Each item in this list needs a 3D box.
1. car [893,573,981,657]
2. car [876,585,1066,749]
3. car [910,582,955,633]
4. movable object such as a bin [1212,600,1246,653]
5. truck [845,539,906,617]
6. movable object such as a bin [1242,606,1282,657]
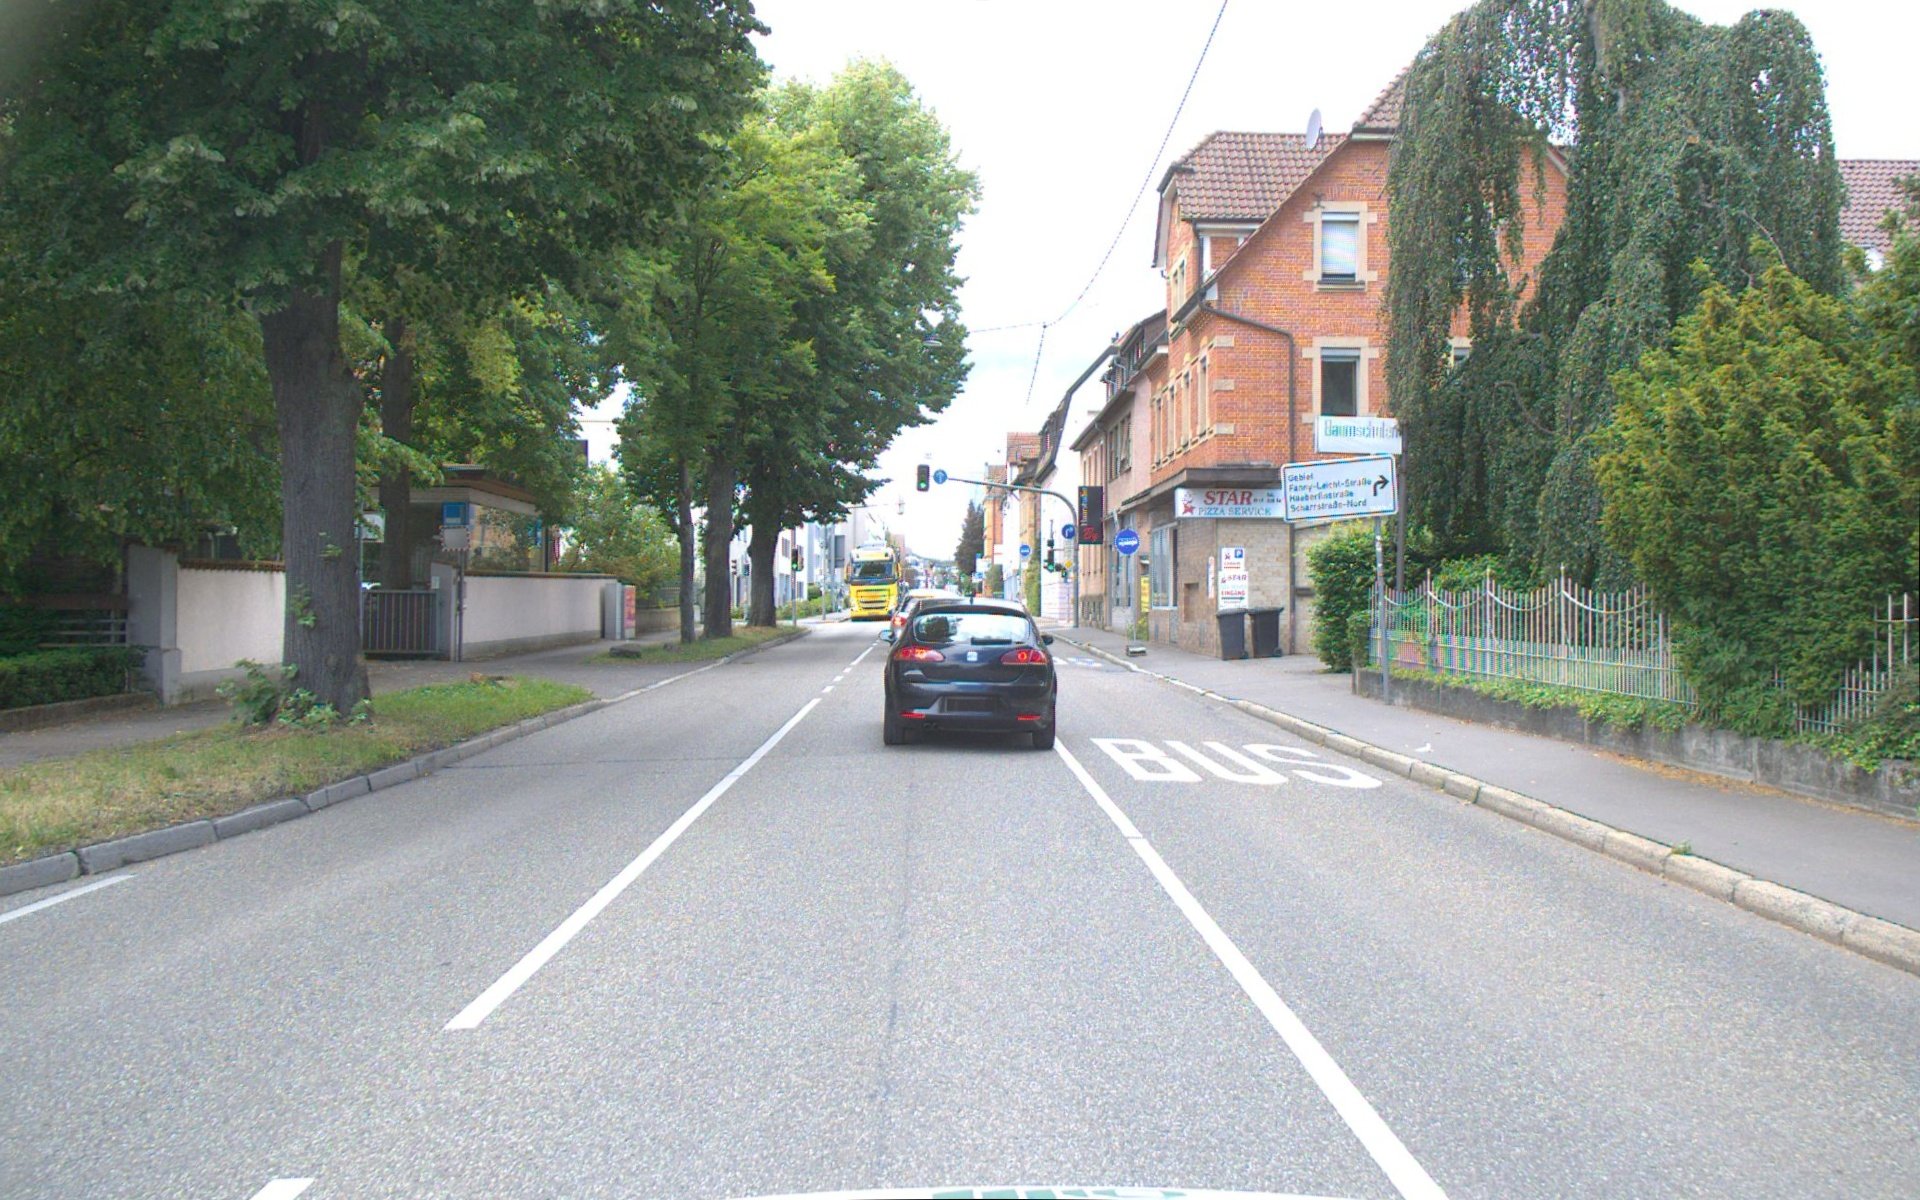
[{"bbox_3d":[-0.531,0.338,37.083,1.805,1.722,3.999,2,0,-1],"label":"car"},{"bbox_3d":[0.072,0.634,17.415,1.723,1.467,3.999,2,0,-1],"label":"car"},{"bbox_3d":[-1.004,0.263,59.411,1.500,1.722,3.692,2,0,-1],"label":"car"},{"bbox_3d":[5.724,0.561,35.191,0.594,1.120,0.622,-1,-1,-1],"label":"movable object such as a bin"},{"bbox_3d":[-4.402,-1.094,87.961,2.786,3.848,7.668,2,0,0],"label":"truck"},{"bbox_3d":[6.430,0.665,35.215,0.684,1.077,0.723,-1,-1,-1],"label":"movable object such as a bin"}]
